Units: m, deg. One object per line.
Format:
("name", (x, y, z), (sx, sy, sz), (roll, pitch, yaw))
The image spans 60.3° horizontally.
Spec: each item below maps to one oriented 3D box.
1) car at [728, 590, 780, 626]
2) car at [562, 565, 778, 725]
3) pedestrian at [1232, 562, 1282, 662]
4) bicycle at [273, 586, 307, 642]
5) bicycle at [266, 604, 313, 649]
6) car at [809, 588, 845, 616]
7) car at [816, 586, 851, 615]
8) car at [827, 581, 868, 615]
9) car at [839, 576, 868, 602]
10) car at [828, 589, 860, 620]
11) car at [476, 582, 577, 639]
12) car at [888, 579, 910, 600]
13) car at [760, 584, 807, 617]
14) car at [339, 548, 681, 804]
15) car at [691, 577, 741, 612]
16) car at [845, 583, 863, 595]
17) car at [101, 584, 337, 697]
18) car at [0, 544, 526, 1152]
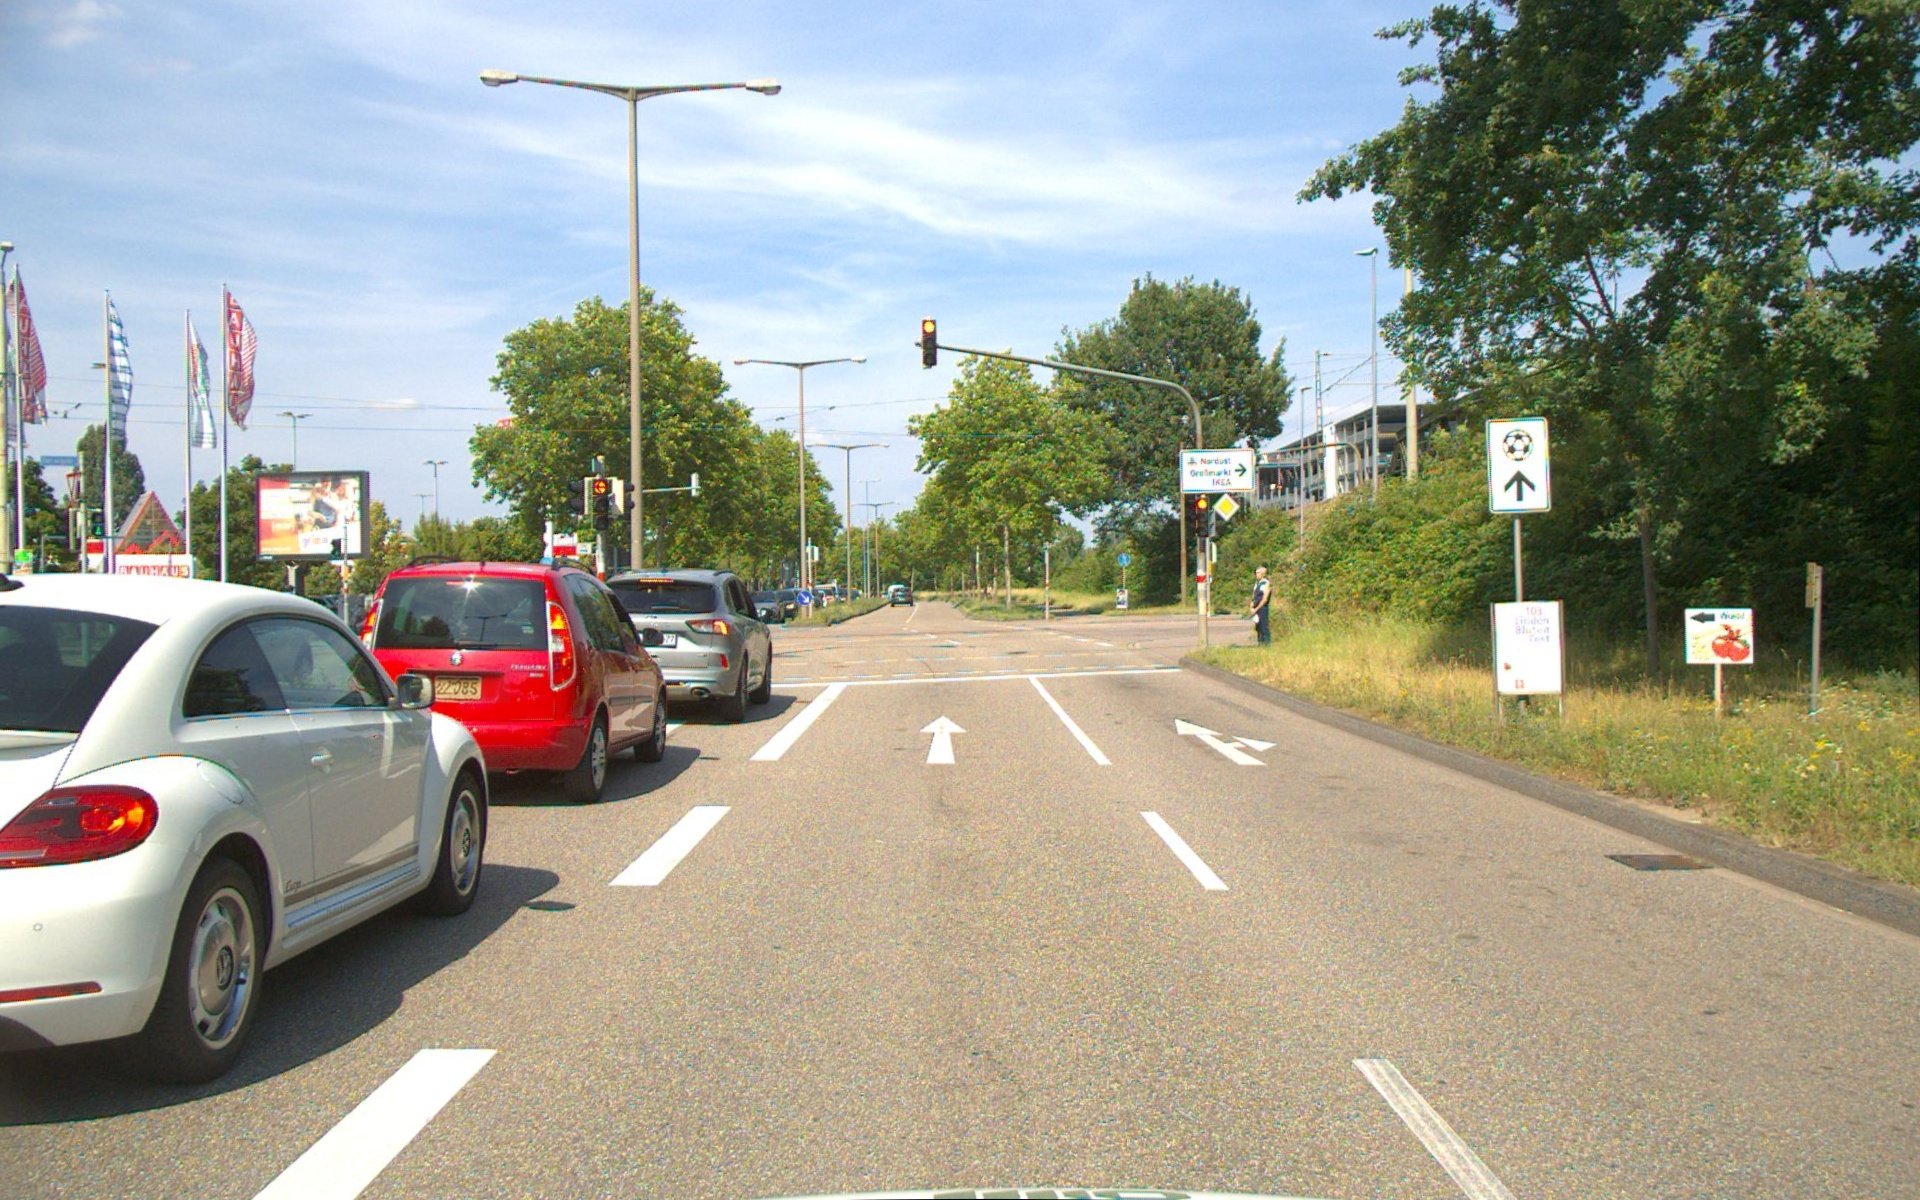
("car", (-9.170, 0.330, 73.953), (1.880, 1.539, 3.999), (-1, 1, -1))
("car", (-3.241, 0.452, 19.298), (1.843, 1.646, 4.212), (0, 0, -1))
("pedestrian", (5.968, 0.233, 33.270), (0.821, 1.966, 0.771), (0, 2, -4))
("bicycle", (-19.991, 0.416, 49.371), (0.659, 1.643, 0.991), (-1, 0, -6))
("bicycle", (-19.971, 0.763, 49.306), (0.659, 1.278, 2.244), (-1, 0, -6))
("car", (-7.855, 0.107, 97.838), (1.864, 1.624, 3.999), (-1, 1, -1))
("car", (-7.962, 0.019, 104.523), (1.953, 1.707, 3.999), (-1, 1, -1))
("car", (-5.876, -0.130, 86.807), (1.953, 1.725, 3.999), (-1, 1, -1))
("car", (-8.096, -0.838, 126.183), (1.953, 1.928, 4.375), (-1, 1, -1))
("car", (-7.702, 0.283, 110.158), (1.953, 1.928, 4.375), (-1, 1, -2))
("car", (-11.532, 0.247, 44.219), (1.705, 1.414, 3.999), (-1, 1, -1))
("car", (-5.089, -0.867, 137.978), (1.701, 1.562, 4.001), (0, 3, 0))
("car", (-8.669, 0.015, 81.532), (1.953, 1.527, 3.999), (-1, 1, -1))
("car", (-3.233, 0.505, 12.638), (1.595, 1.623, 3.917), (-1, -1, -1))
("car", (-12.093, -0.288, 82.314), (1.953, 1.539, 4.000), (0, 3, -1))
("car", (-15.961, -1.702, 248.312), (1.836, 1.724, 4.389), (-1, 1, -16))
("car", (-11.103, 0.548, 25.117), (1.739, 1.496, 4.000), (-2, 1, 0))
("car", (-2.996, 0.587, 6.145), (1.730, 1.505, 4.135), (1, 1, -1))
